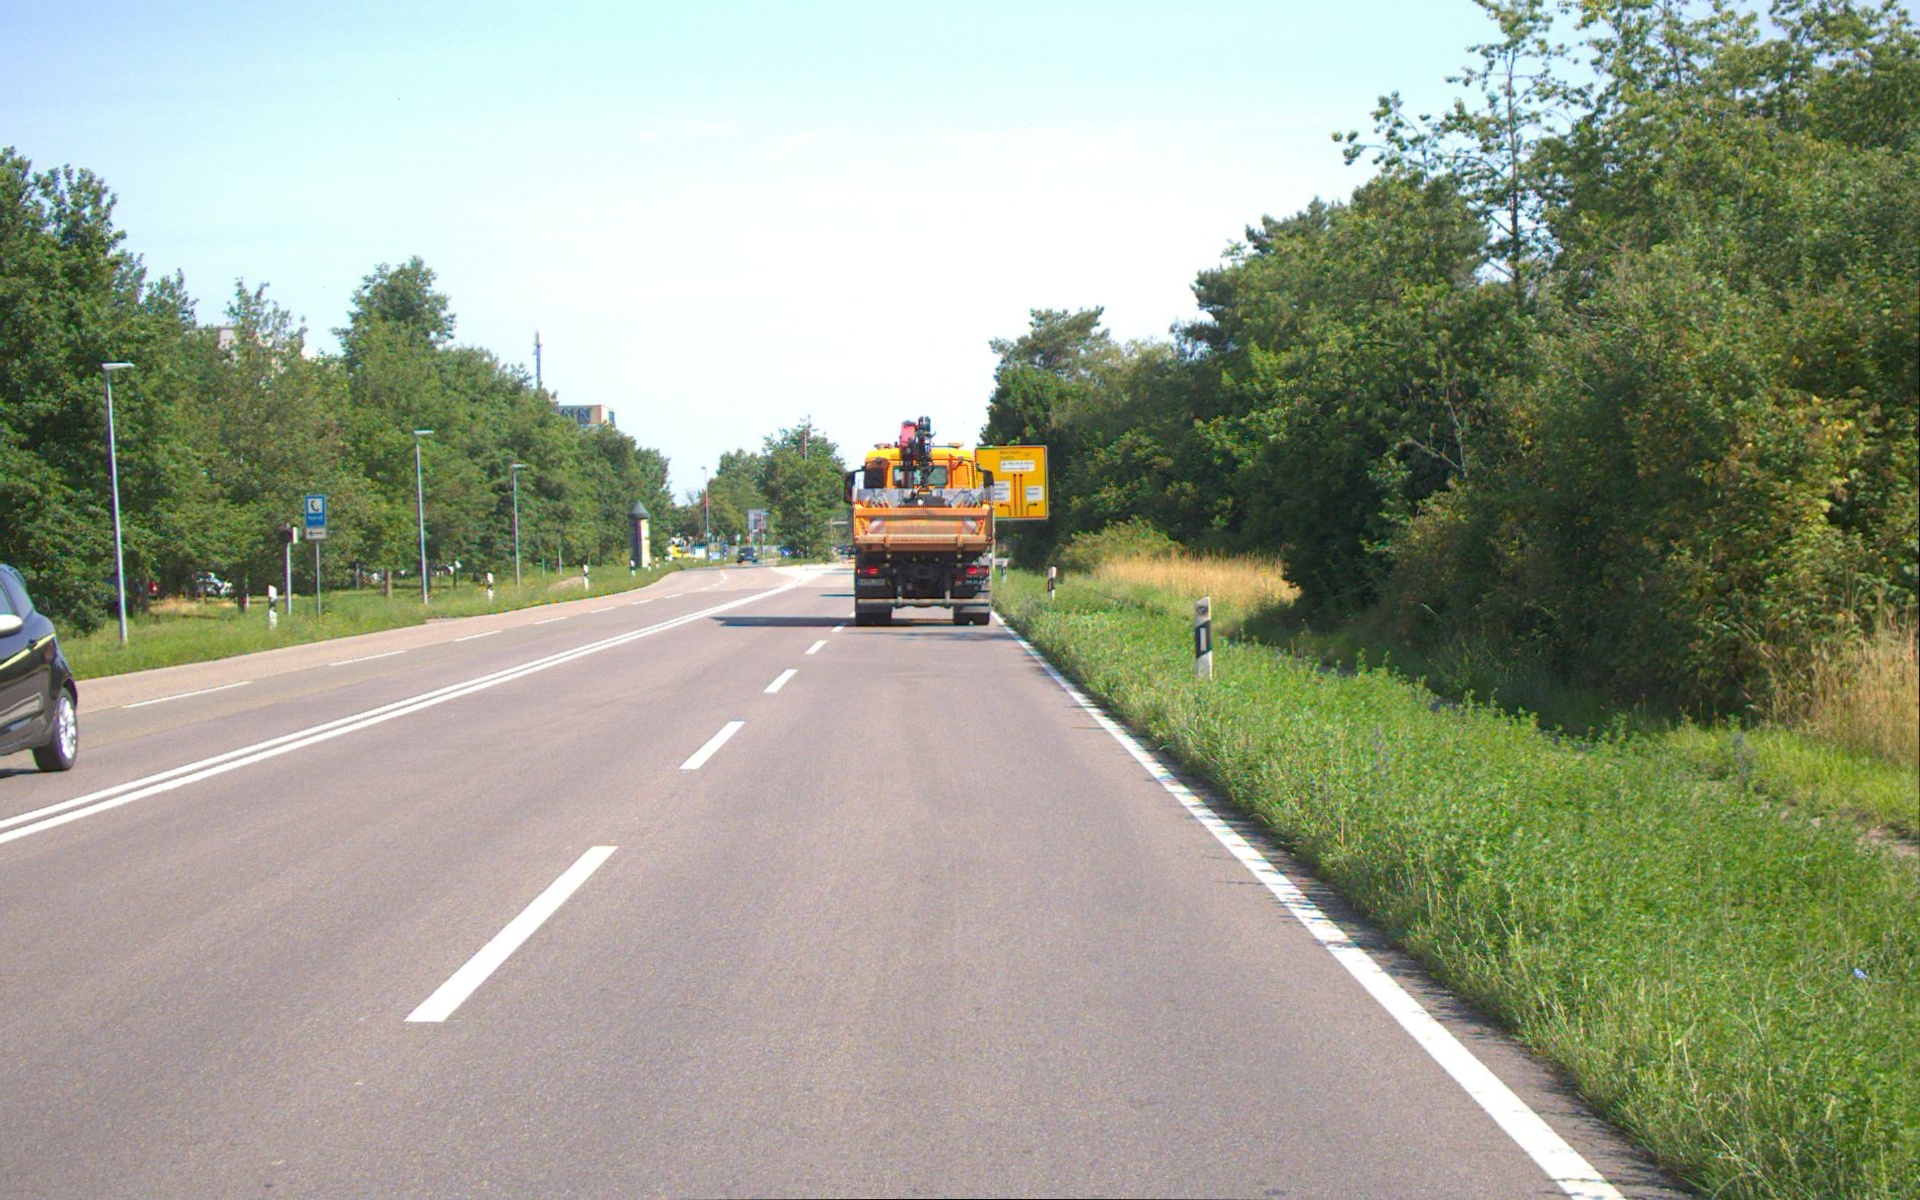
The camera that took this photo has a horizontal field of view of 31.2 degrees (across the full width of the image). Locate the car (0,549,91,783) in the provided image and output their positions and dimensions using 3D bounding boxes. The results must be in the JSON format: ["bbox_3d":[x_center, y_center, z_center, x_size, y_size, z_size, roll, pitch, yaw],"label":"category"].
[{"bbox_3d":[-6.745,0.445,21.740,1.517,1.445,3.775,-3,1,-1],"label":"car"}]

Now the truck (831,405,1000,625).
[{"bbox_3d":[-0.927,-1.569,64.568,2.871,3.867,7.401,1,1,-3],"label":"truck"}]

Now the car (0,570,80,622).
[{"bbox_3d":[-29.914,-0.135,111.245,1.743,1.573,4.549,-2,1,-1],"label":"car"}]

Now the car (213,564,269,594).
[{"bbox_3d":[-37.499,-1.118,179.464,1.993,1.432,4.610,-1,1,-1],"label":"car"}]

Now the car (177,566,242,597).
[{"bbox_3d":[-36.979,-0.917,169.504,1.993,1.432,4.955,-1,1,1],"label":"car"}]
